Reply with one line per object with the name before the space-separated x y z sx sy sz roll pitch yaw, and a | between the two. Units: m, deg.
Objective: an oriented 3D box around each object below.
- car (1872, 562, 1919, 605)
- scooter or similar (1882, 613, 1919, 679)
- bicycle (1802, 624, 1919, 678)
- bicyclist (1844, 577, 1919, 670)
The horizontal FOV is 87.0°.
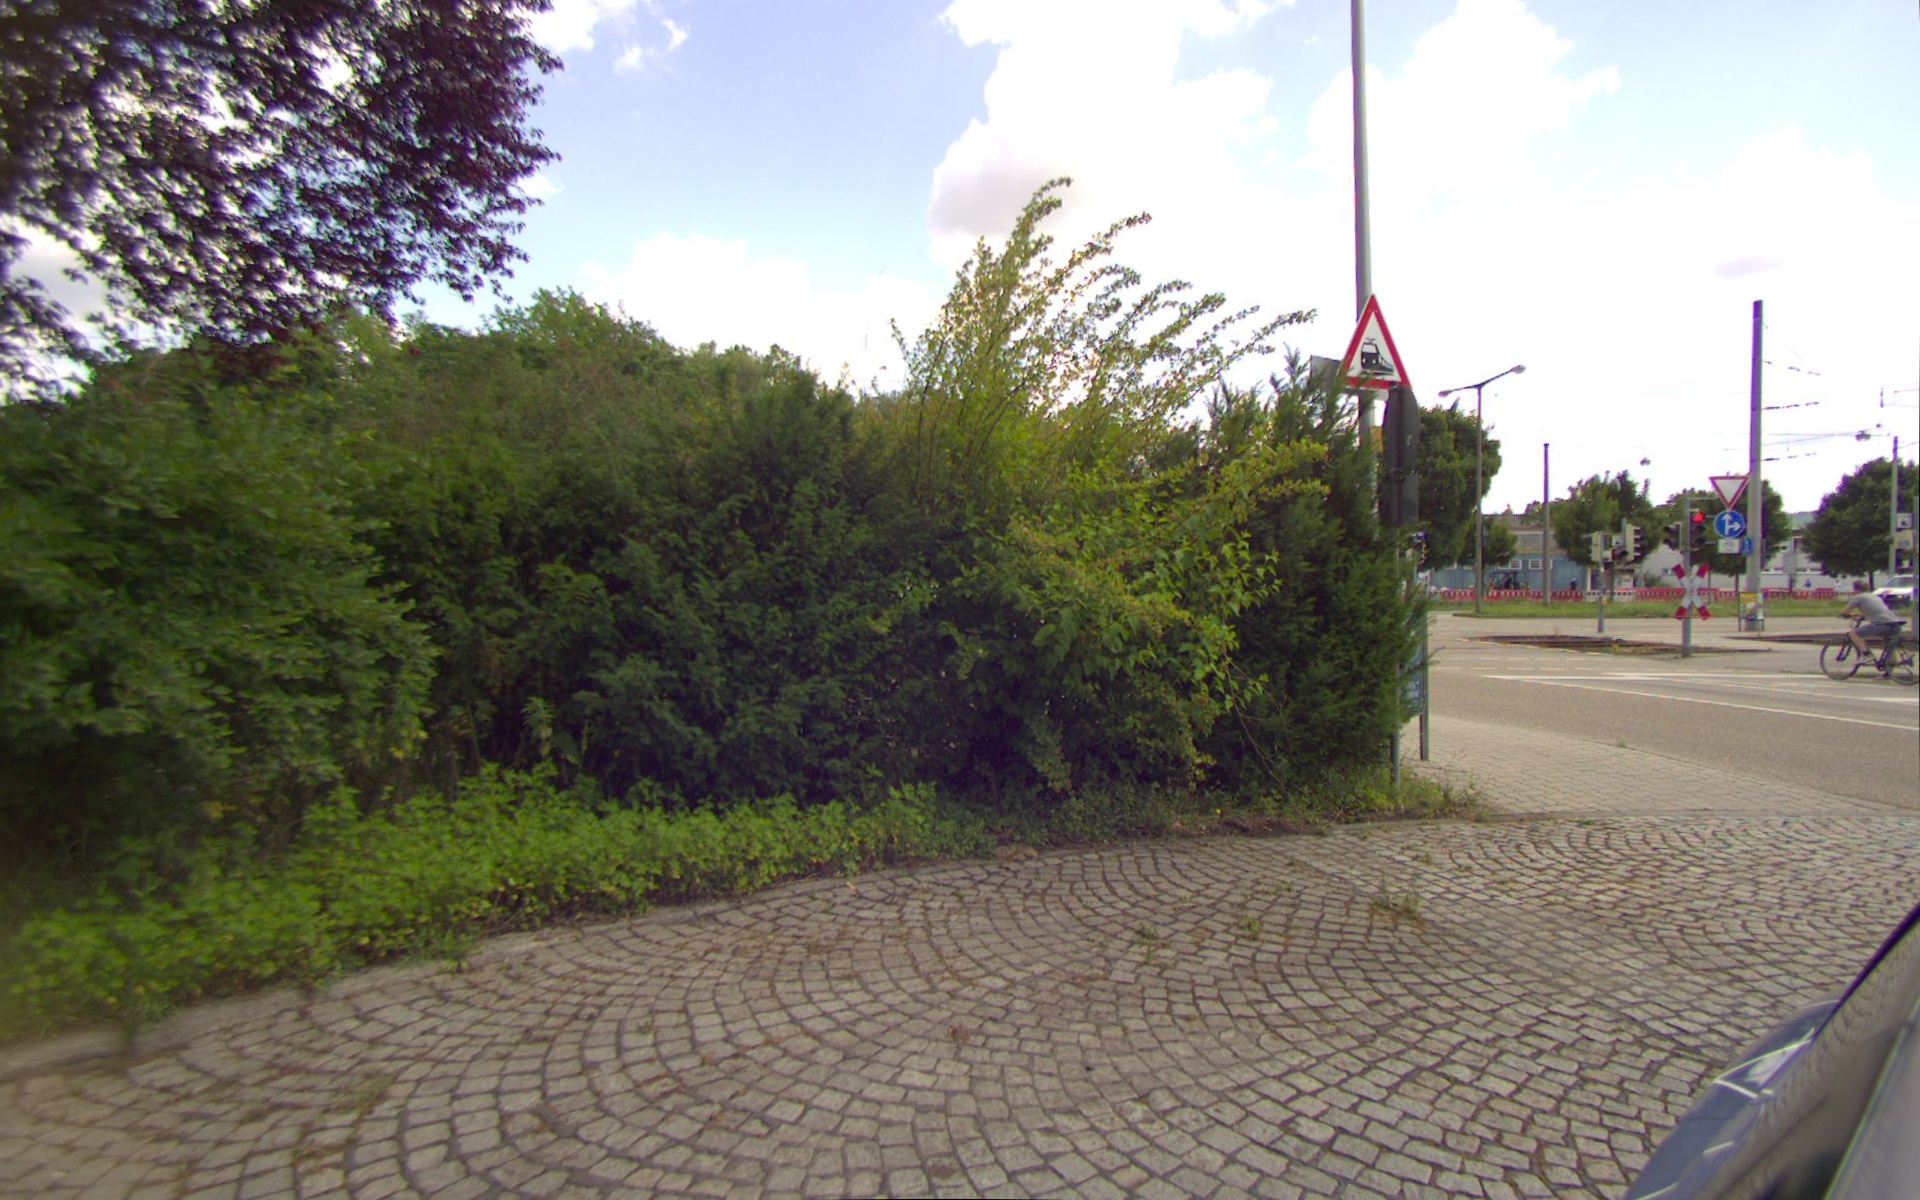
car | 48.010 -0.829 49.764 4.735 2.039 2.002 0 1 -5
scooter or similar | 15.142 0.714 15.289 0.943 0.992 1.581 0 0 -4
bicycle | 15.125 0.833 16.931 0.544 0.774 1.729 0 1 -4
bicyclist | 15.137 0.372 16.617 0.446 1.494 0.842 0 1 -4
